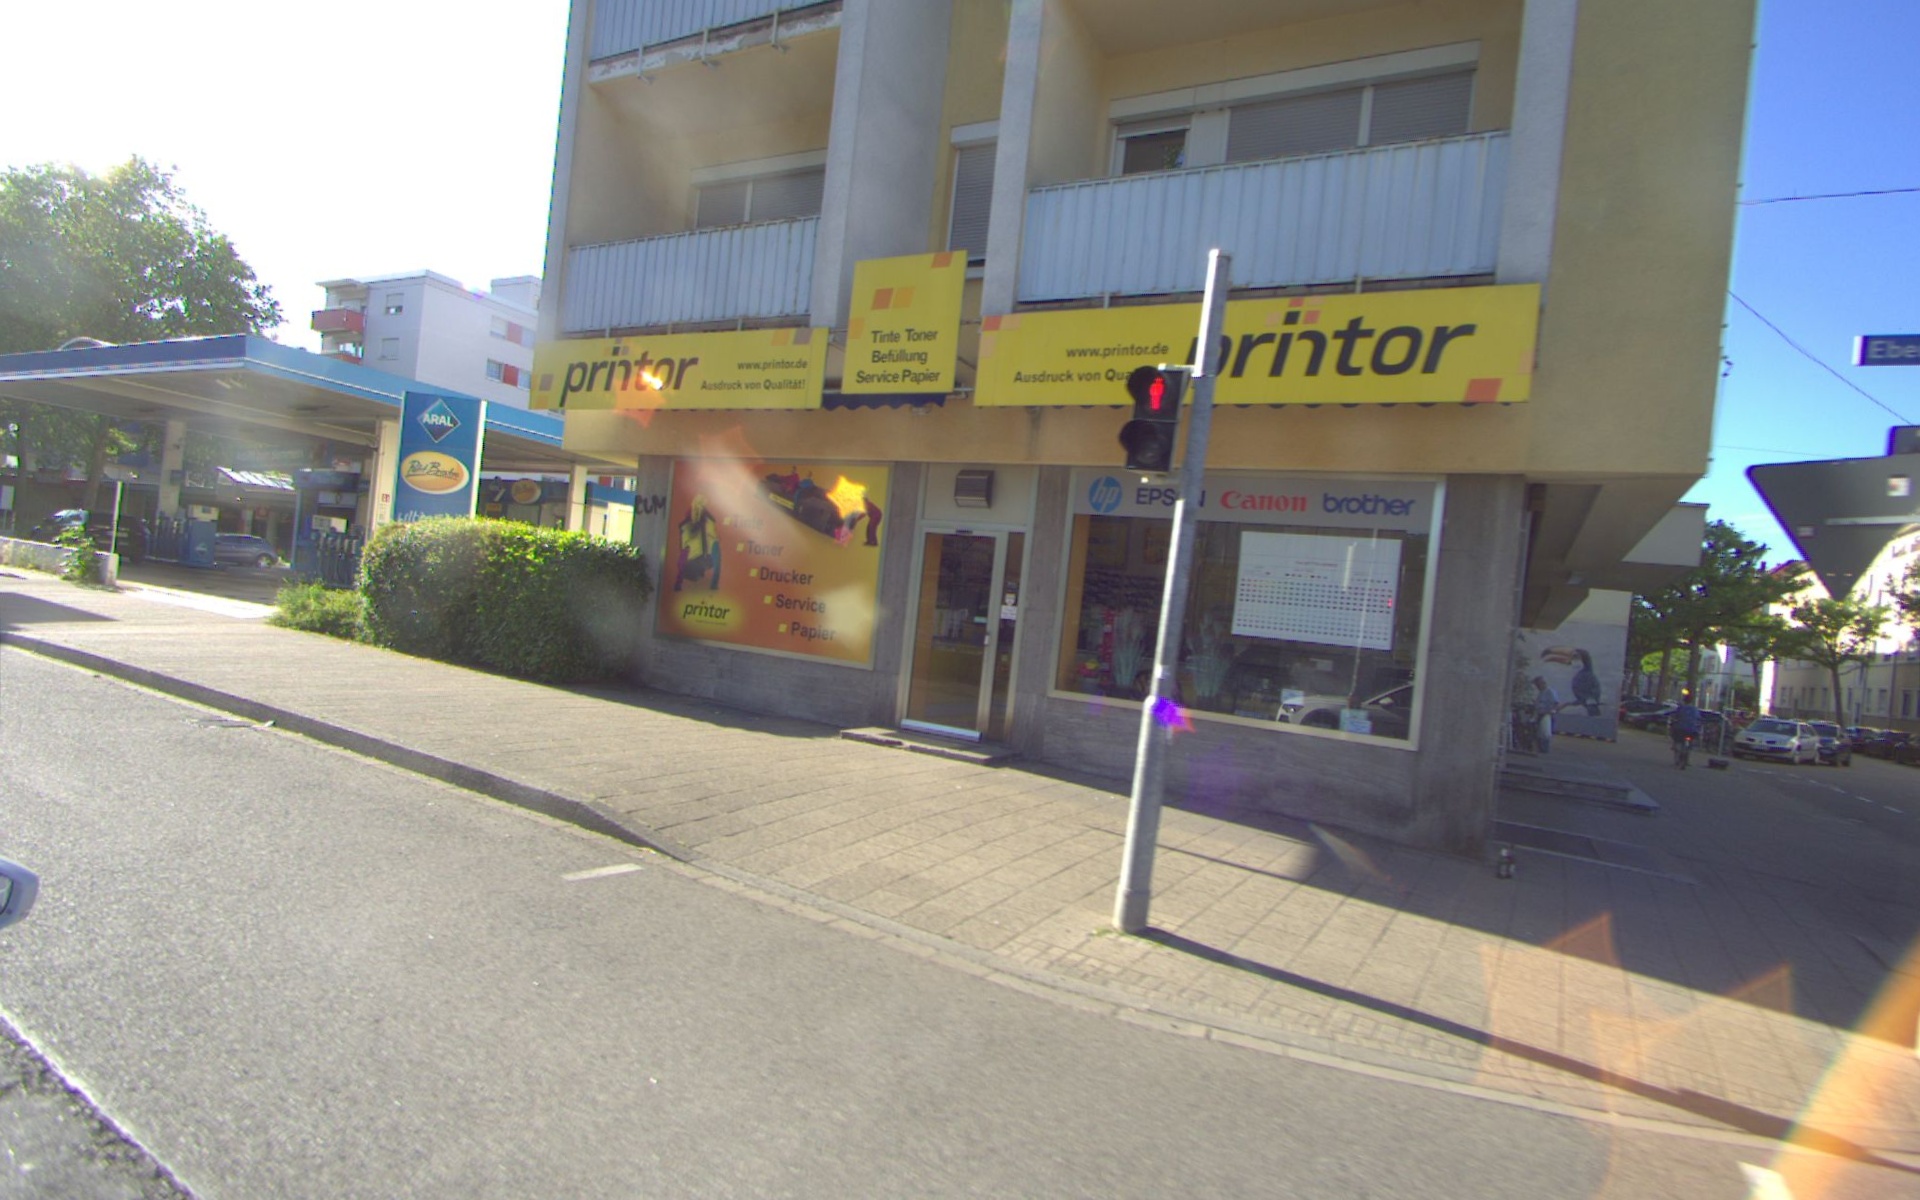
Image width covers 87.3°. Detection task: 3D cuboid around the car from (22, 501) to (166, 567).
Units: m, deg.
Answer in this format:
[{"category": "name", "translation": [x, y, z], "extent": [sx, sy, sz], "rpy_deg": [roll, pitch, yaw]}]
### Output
[{"category": "car", "translation": [-25.764, -1.964, 29.927], "extent": [3.934, 1.481, 1.725], "rpy_deg": [6, -1, 25]}]

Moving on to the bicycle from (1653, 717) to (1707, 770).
[{"category": "bicycle", "translation": [17.412, 3.449, 24.384], "extent": [0.833, 1.062, 2.267], "rpy_deg": [6, -1, 32]}]

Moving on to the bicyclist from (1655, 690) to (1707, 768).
[{"category": "bicyclist", "translation": [17.409, 3.087, 24.315], "extent": [0.804, 1.737, 0.754], "rpy_deg": [7, 1, 33]}]

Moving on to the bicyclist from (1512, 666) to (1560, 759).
[{"category": "bicyclist", "translation": [11.237, 2.178, 19.644], "extent": [0.628, 1.700, 0.684], "rpy_deg": [6, 0, 27]}]

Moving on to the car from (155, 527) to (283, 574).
[{"category": "car", "translation": [-33.818, -2.234, 46.035], "extent": [1.950, 1.549, 4.198], "rpy_deg": [6, -1, 30]}]

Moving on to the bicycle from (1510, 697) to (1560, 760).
[{"category": "bicycle", "translation": [11.246, 2.489, 19.721], "extent": [0.631, 1.072, 2.086], "rpy_deg": [6, -2, 26]}]

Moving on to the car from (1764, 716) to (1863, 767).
[{"category": "car", "translation": [31.912, 5.285, 37.581], "extent": [4.188, 1.537, 1.979], "rpy_deg": [7, -1, -39]}]

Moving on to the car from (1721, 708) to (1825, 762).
[{"category": "car", "translation": [28.302, 4.701, 34.987], "extent": [4.135, 1.525, 1.899], "rpy_deg": [7, -1, -39]}]
